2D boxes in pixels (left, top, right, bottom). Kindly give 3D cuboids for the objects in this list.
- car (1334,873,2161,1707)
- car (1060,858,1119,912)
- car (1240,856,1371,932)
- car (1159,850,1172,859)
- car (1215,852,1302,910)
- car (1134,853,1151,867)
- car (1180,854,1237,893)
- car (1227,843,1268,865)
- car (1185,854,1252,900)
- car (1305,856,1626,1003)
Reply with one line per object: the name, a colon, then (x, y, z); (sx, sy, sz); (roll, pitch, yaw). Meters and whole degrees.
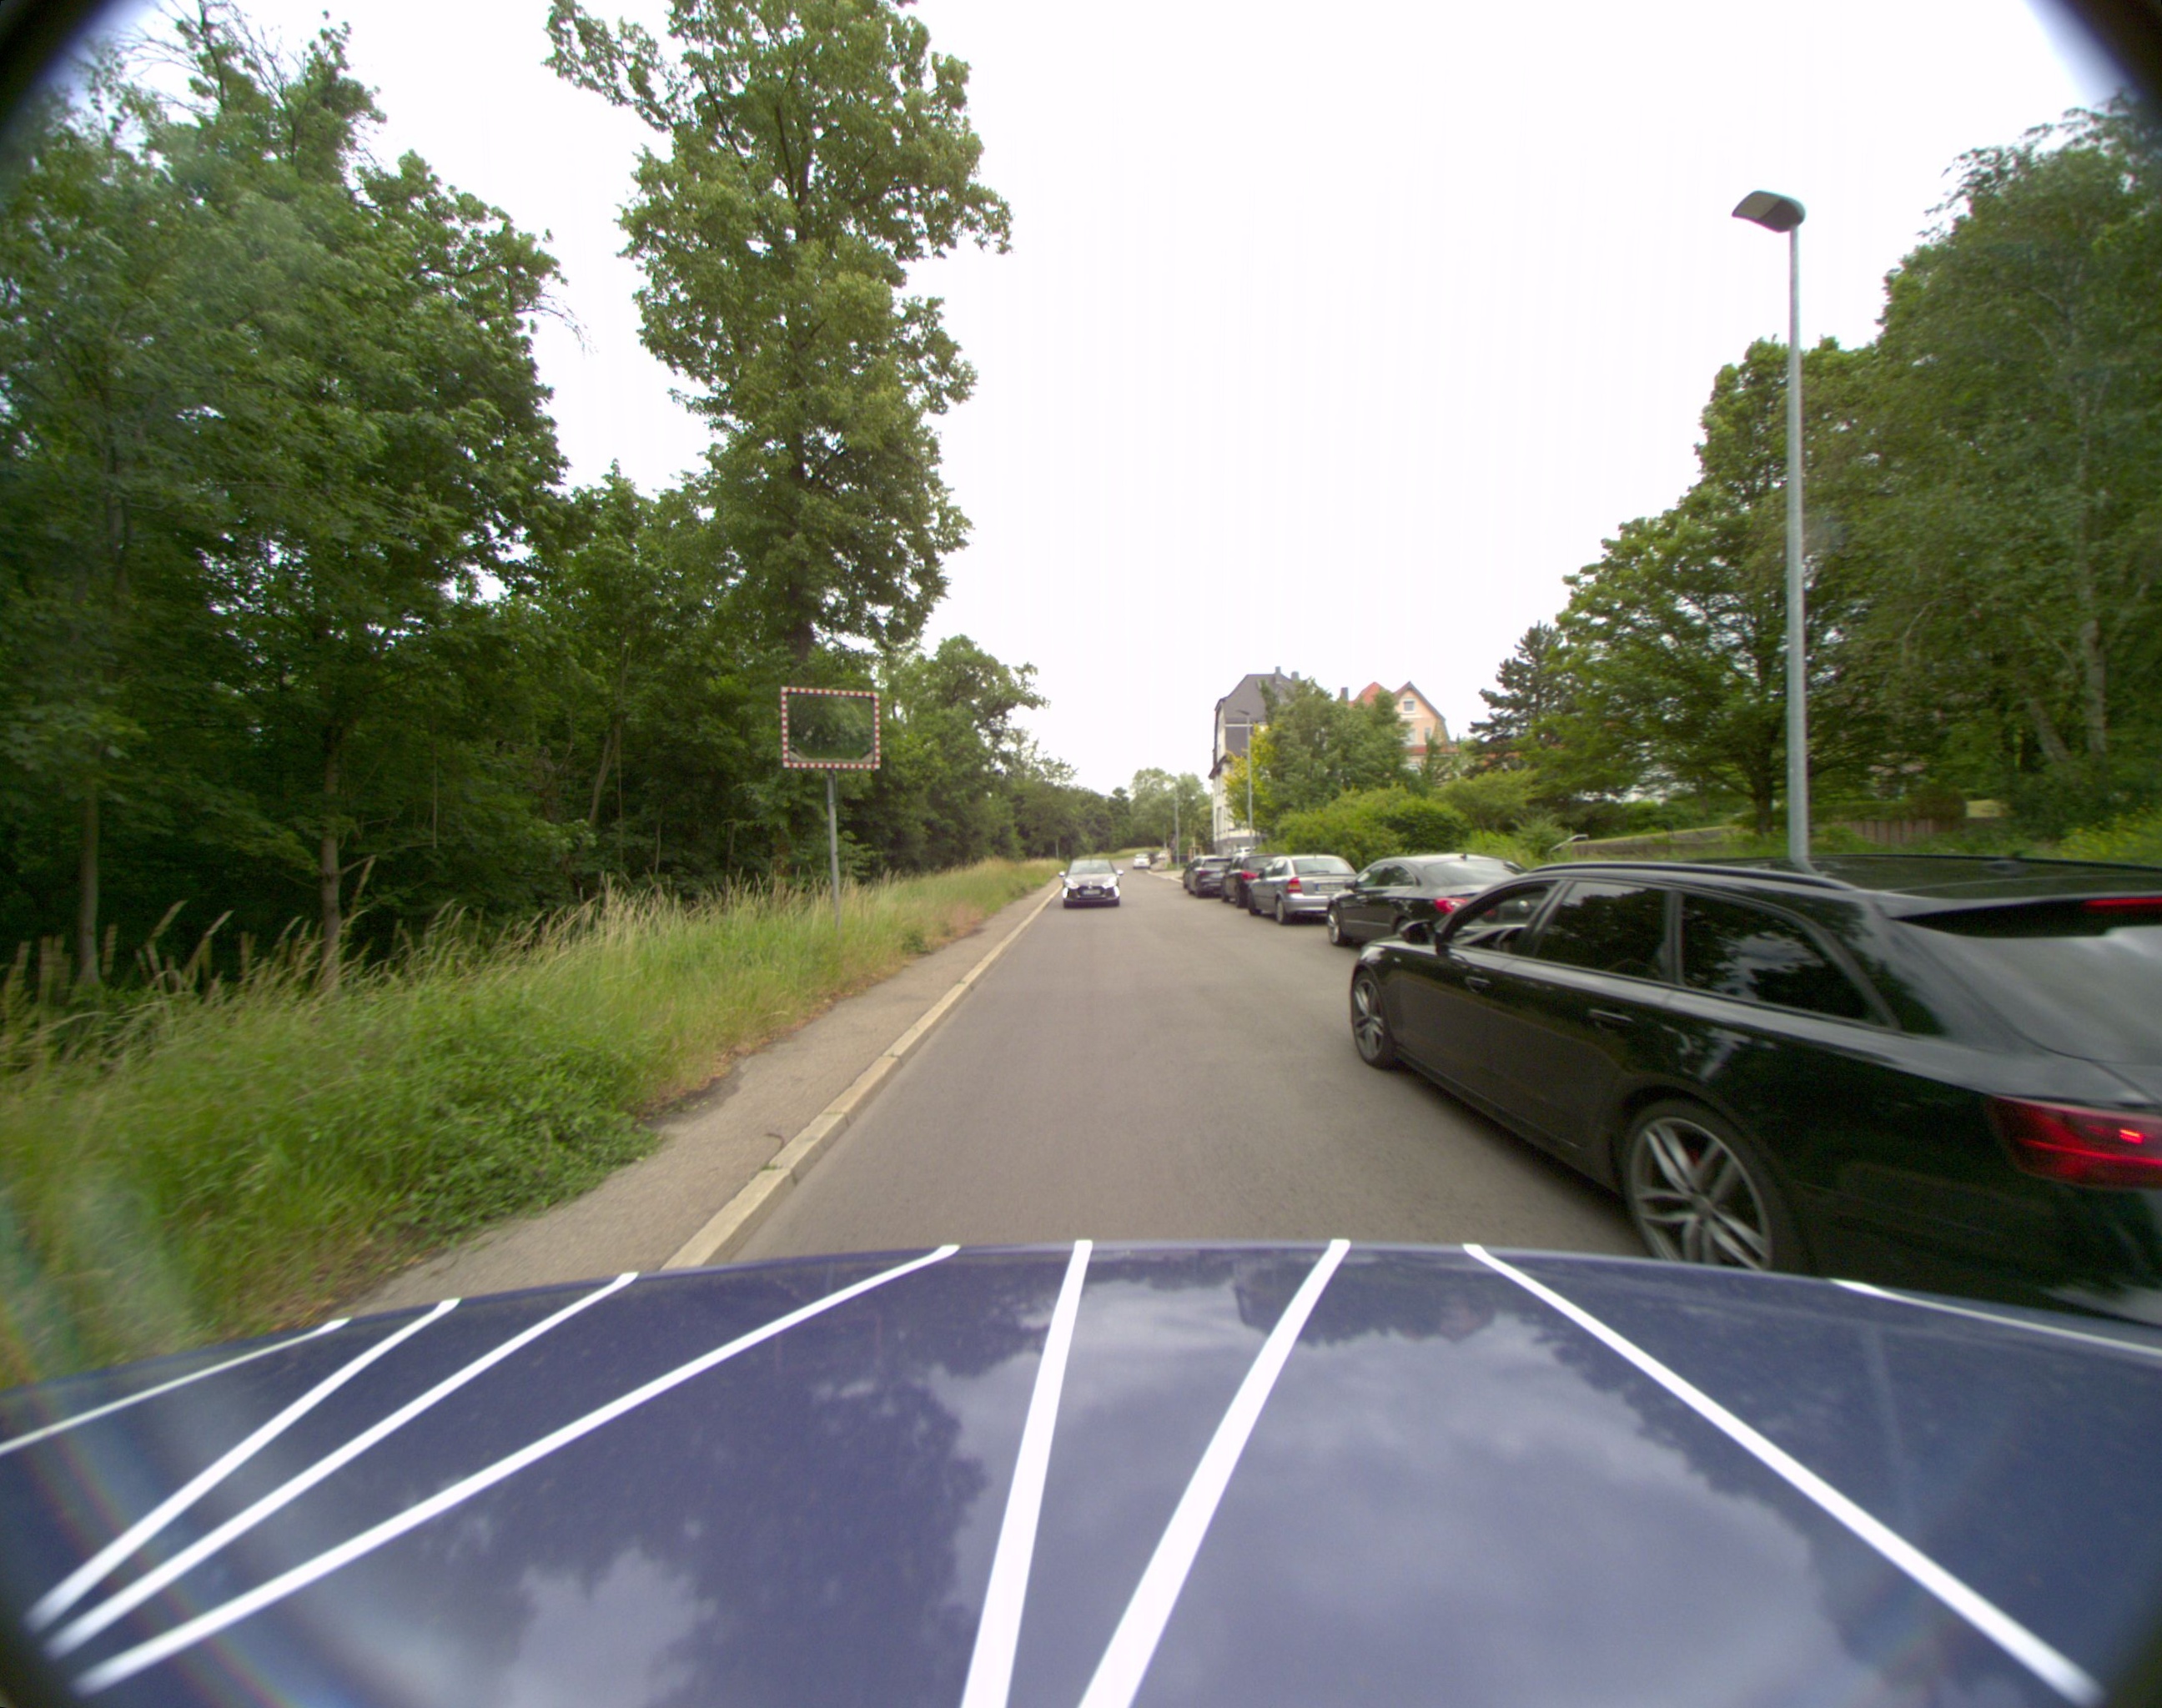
car: (2.788, 0.883, 3.416); (1.785, 1.417, 4.489); (-2, 0, 0)
car: (0.316, 0.864, 23.033); (1.619, 1.460, 4.001); (-1, 0, 3)
car: (4.801, 0.783, 16.859); (1.628, 1.423, 4.351); (-1, 0, 0)
car: (14.502, 0.034, 130.196); (1.735, 1.420, 3.460); (0, 1, 13)
car: (4.968, 0.704, 21.749); (1.628, 1.474, 4.000); (-1, 0, 1)
car: (6.356, 0.598, 78.857); (1.646, 1.461, 4.072); (0, 0, 4)
car: (5.291, 0.763, 31.939); (1.686, 1.474, 4.693); (-1, 0, 1)
car: (13.190, -0.016, 60.476); (1.911, 1.524, 4.594); (-4, 2, -3)
car: (4.774, 0.748, 26.978); (1.710, 1.474, 4.496); (-1, 0, 2)
car: (4.714, 0.784, 10.369); (1.782, 1.423, 5.105); (-2, 0, 0)
